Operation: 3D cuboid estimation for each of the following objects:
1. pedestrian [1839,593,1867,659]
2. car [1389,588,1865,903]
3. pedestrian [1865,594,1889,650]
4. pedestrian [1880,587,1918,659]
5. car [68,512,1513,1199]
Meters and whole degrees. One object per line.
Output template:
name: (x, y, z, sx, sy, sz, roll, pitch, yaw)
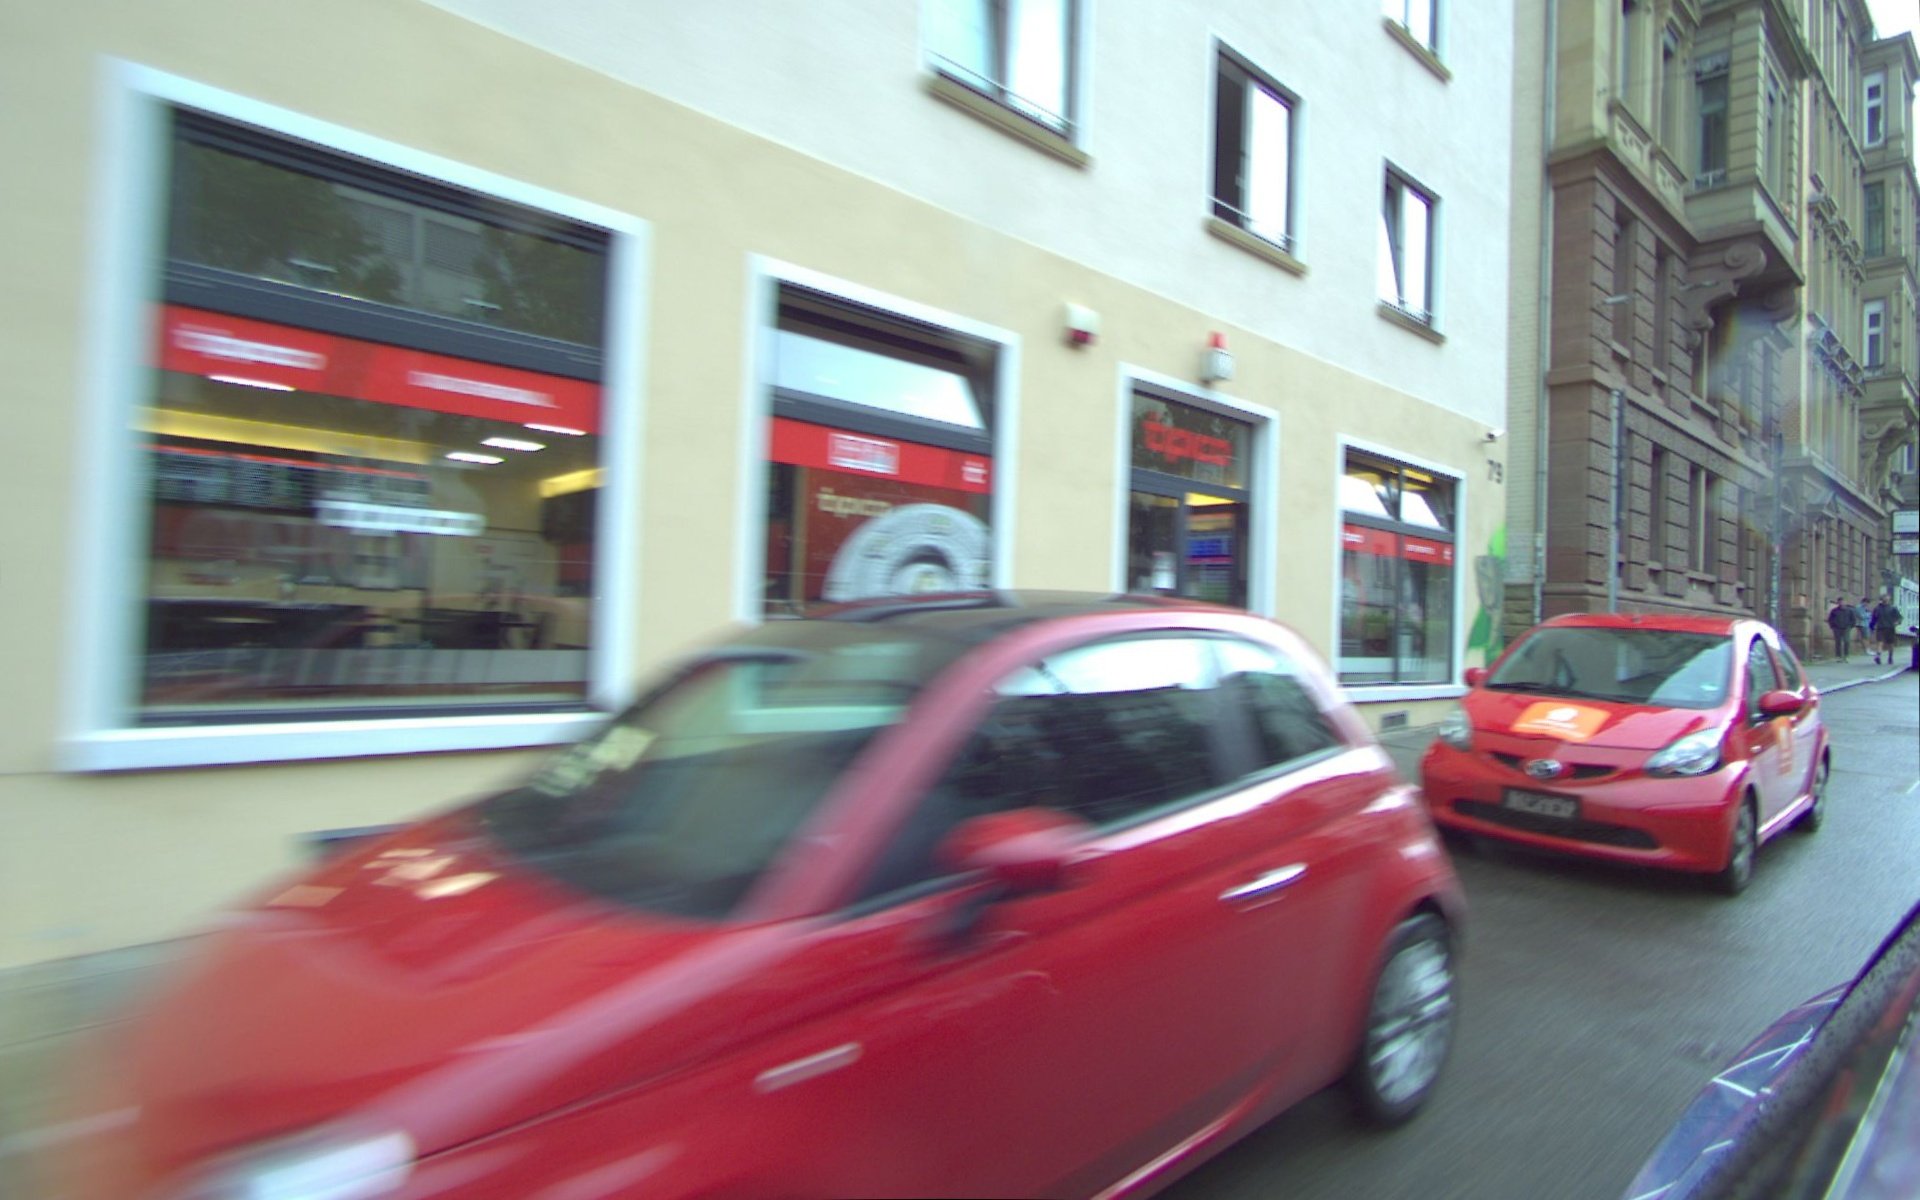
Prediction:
pedestrian: (22.992, 0.650, 26.062, 0.621, 1.665, 0.488, 0, 1, -45)
car: (4.427, 0.679, 6.558, 3.384, 1.480, 1.719, 0, 1, -41)
pedestrian: (27.450, 0.650, 30.308, 0.456, 1.665, 0.484, 0, 1, -45)
pedestrian: (23.873, 0.563, 25.728, 0.868, 1.784, 0.652, 0, 1, -45)
car: (-0.091, 0.642, 2.671, 3.354, 1.480, 1.648, 0, 1, -41)
